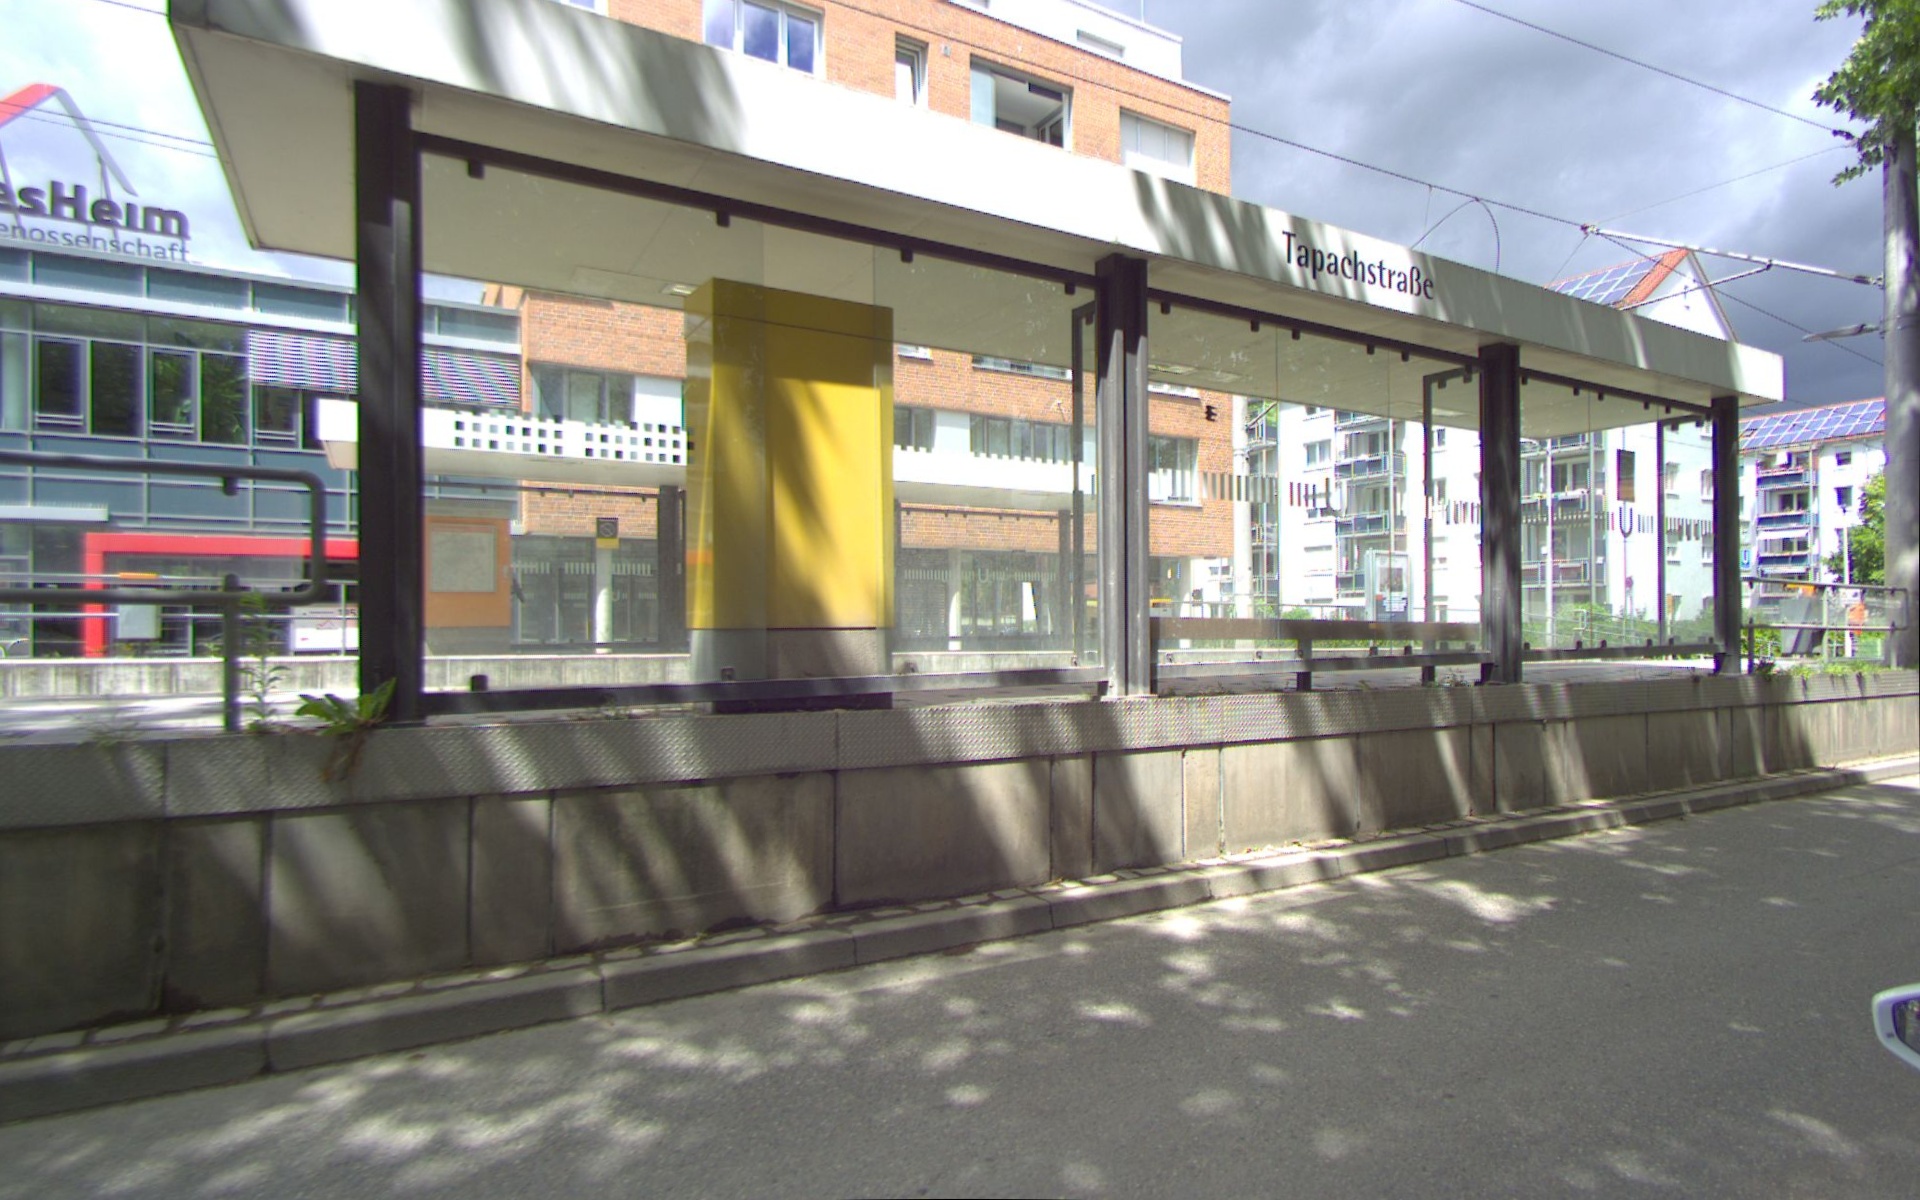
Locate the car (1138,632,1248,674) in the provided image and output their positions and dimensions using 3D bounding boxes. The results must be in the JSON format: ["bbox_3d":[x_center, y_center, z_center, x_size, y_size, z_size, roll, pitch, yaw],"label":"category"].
[{"bbox_3d":[9.105,2.029,39.171,3.950,1.572,1.887,1,-2,-29],"label":"car"}]
